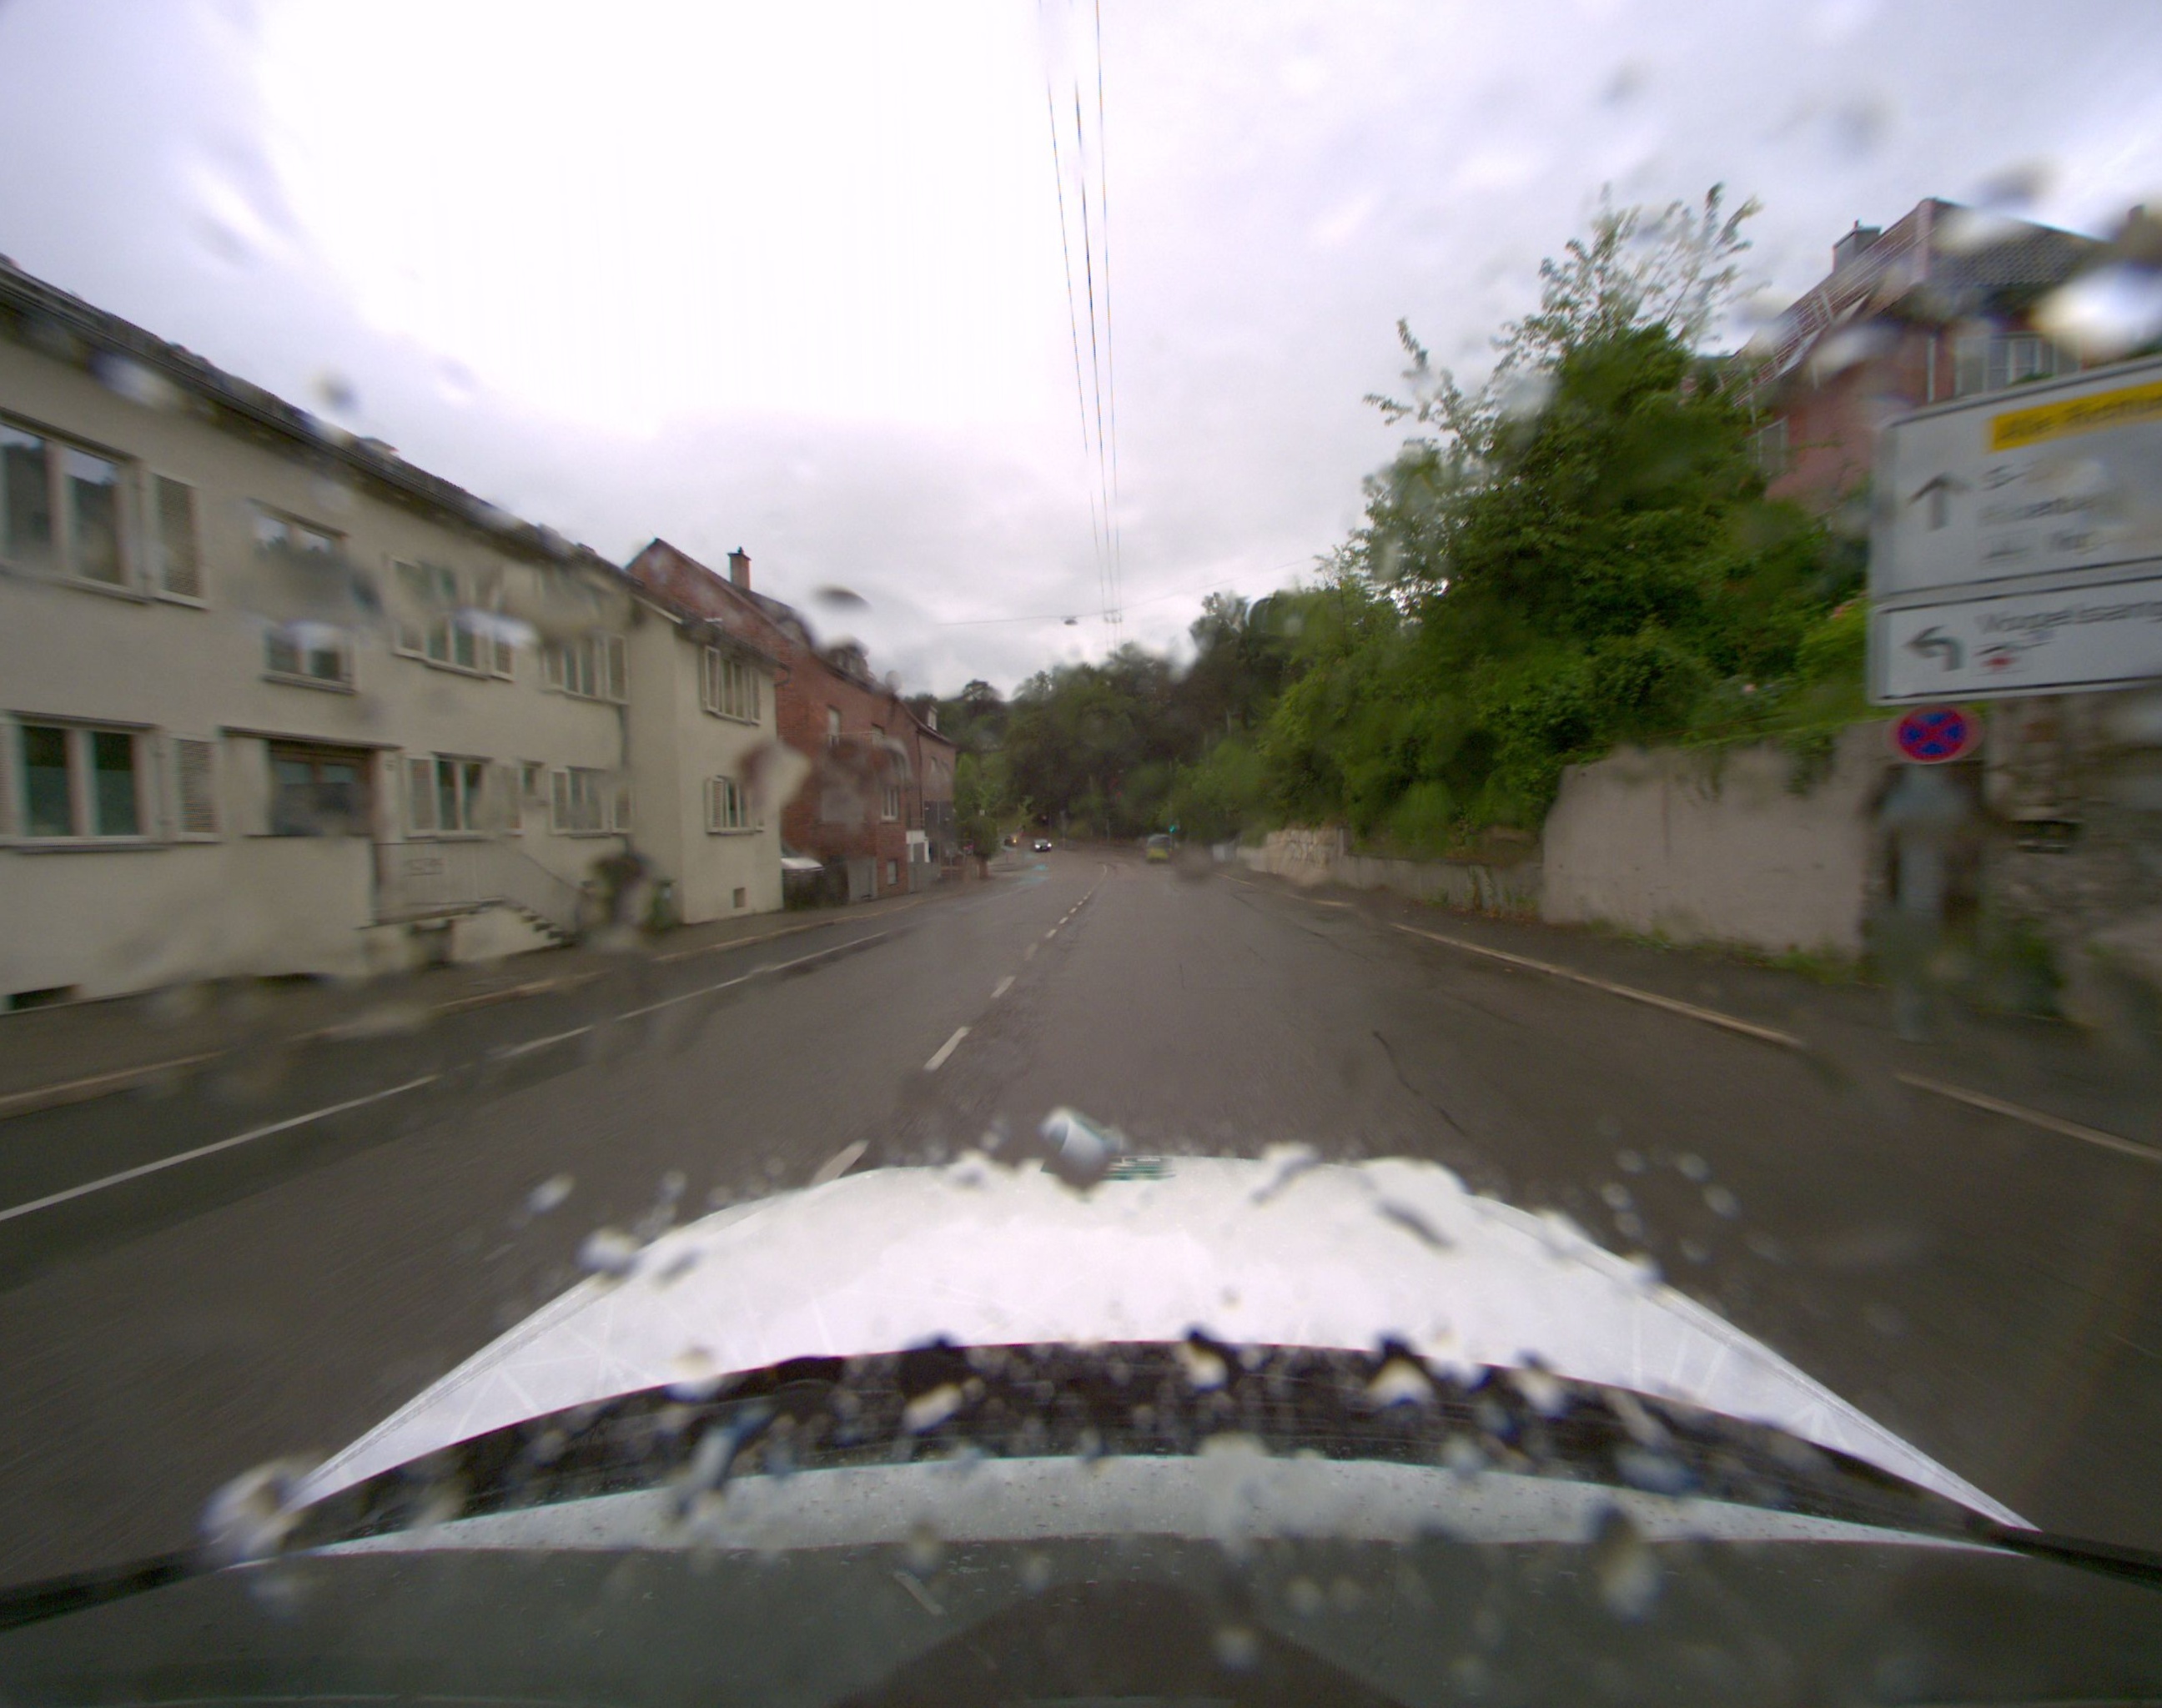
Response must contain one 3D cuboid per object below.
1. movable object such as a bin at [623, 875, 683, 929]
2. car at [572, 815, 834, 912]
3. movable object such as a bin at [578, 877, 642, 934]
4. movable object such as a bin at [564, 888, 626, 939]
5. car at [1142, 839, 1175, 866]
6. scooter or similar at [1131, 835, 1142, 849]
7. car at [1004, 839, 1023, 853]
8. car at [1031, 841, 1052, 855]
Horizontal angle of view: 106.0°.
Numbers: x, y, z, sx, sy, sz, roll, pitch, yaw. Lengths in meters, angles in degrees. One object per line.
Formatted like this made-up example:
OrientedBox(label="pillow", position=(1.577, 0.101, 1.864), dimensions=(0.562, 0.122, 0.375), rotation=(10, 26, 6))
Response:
OrientedBox(label="movable object such as a bin", position=(-8.609, 0.954, 16.400), dimensions=(0.778, 1.047, 0.739), rotation=(-1, 0, 3))
OrientedBox(label="car", position=(-10.864, 0.291, 23.695), dimensions=(6.625, 2.554, 2.170), rotation=(-1, -2, 3))
OrientedBox(label="movable object such as a bin", position=(-9.020, 0.974, 15.605), dimensions=(0.778, 1.047, 0.709), rotation=(-1, 0, 3))
OrientedBox(label="movable object such as a bin", position=(-8.730, 1.059, 14.653), dimensions=(0.670, 0.859, 0.709), rotation=(-1, 0, 3))
OrientedBox(label="car", position=(6.520, -0.179, 68.896), dimensions=(2.300, 1.939, 4.327), rotation=(-3, 3, 1))
OrientedBox(label="scooter or similar", position=(6.438, -1.410, 94.615), dimensions=(0.617, 1.421, 2.151), rotation=(-4, 5, -11))
OrientedBox(label="car", position=(-8.951, -1.074, 107.702), dimensions=(1.743, 1.549, 3.982), rotation=(-6, 2, -13))
OrientedBox(label="car", position=(-4.743, -0.728, 97.669), dimensions=(1.742, 1.549, 3.984), rotation=(-5, 3, -12))
